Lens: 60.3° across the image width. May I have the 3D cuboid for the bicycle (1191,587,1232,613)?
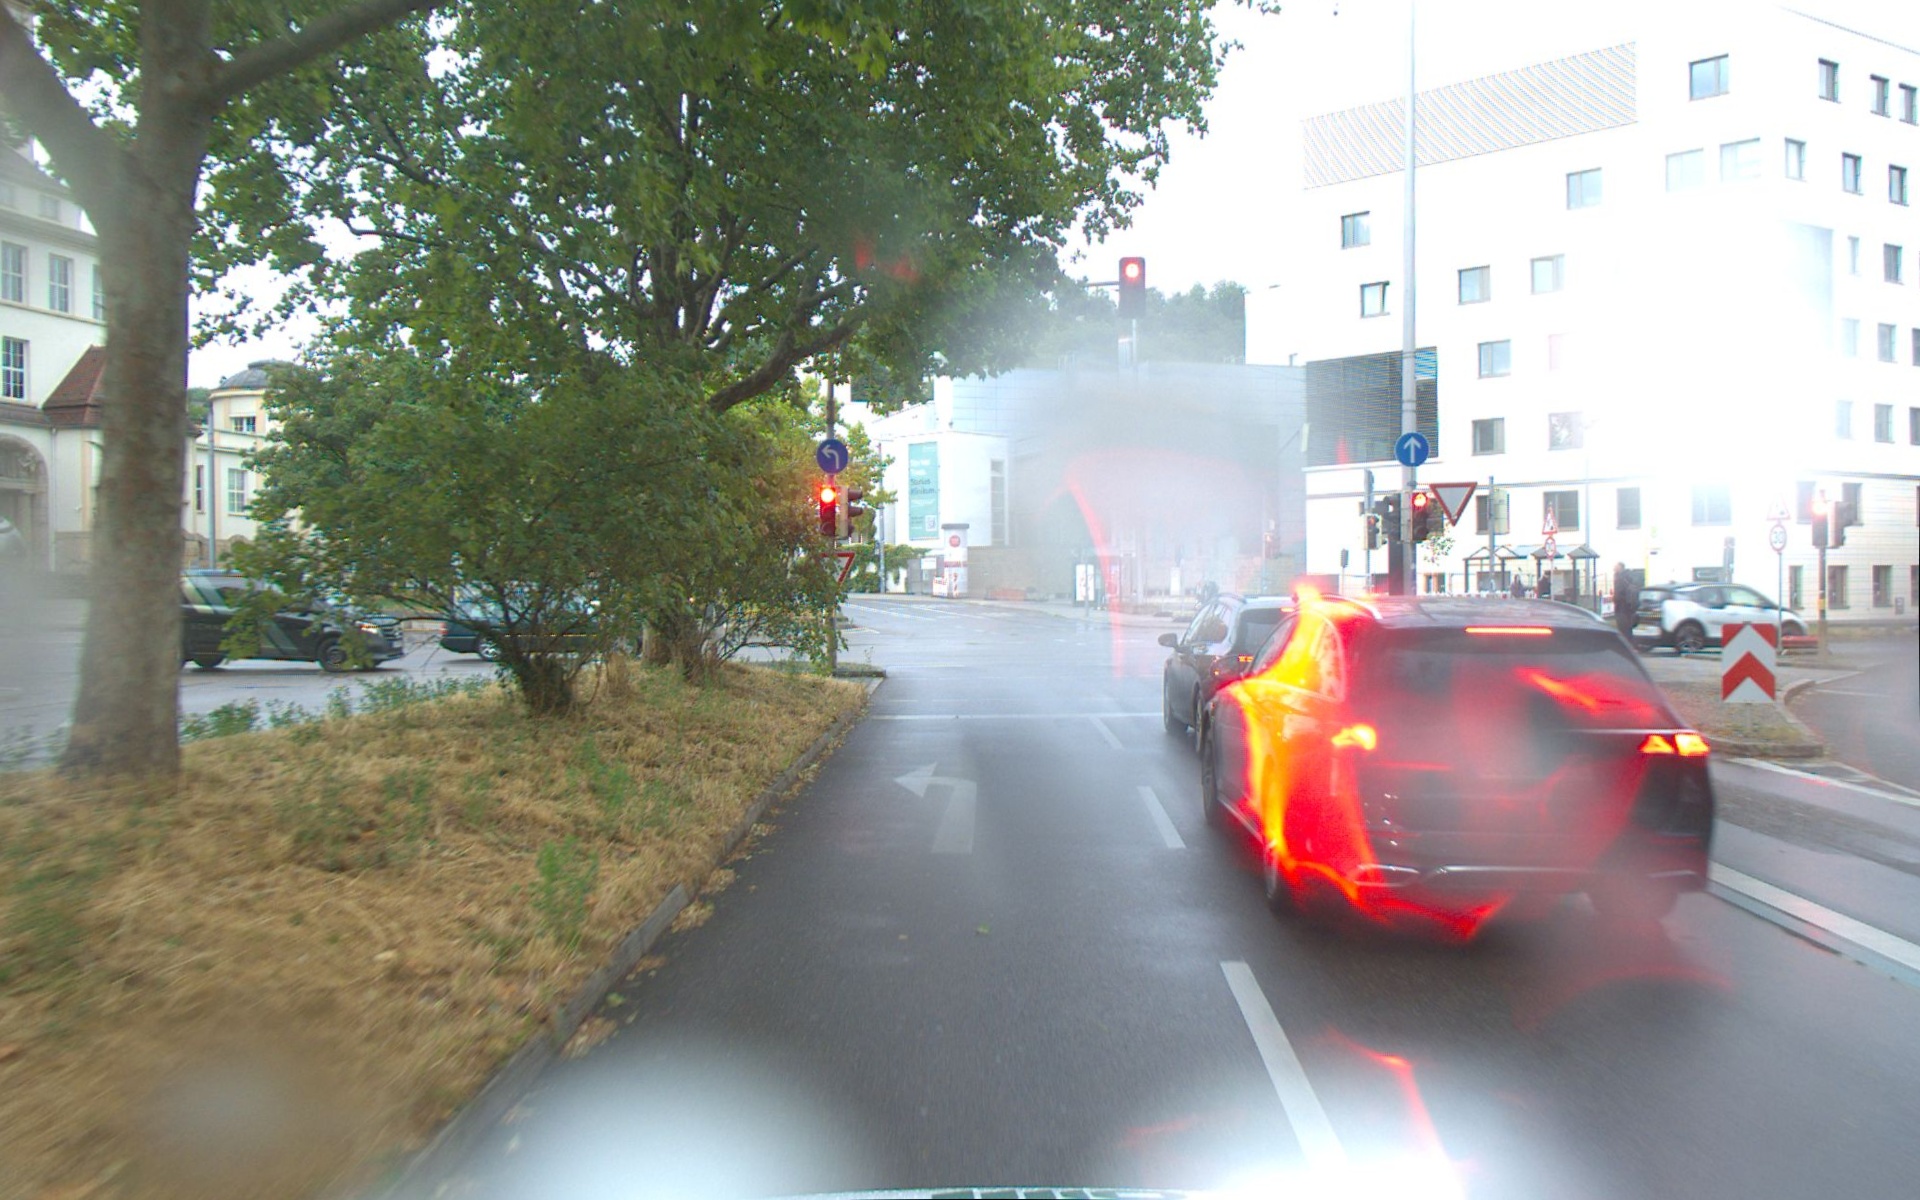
[{"bbox_3d":[10.461,-0.001,68.801,1.801,1.075,0.640,0,0,-36],"label":"bicycle"}]

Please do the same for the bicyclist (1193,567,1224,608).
[{"bbox_3d":[10.318,-0.518,68.711,1.115,1.661,0.694,1,-1,-34],"label":"bicyclist"}]

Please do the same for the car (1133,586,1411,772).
[{"bbox_3d":[2.877,0.645,16.230,1.637,1.491,4.510,0,1,-3],"label":"car"}]

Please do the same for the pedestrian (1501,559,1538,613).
[{"bbox_3d":[19.549,-0.490,57.800,0.934,1.872,0.822,1,-1,-10],"label":"pedestrian"}]

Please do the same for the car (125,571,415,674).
[{"bbox_3d":[-13.157,0.397,31.734,4.672,1.840,2.001,-1,1,2],"label":"car"}]

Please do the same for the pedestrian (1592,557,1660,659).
[{"bbox_3d":[12.843,0.150,31.911,0.812,1.925,1.026,1,-1,-7],"label":"pedestrian"}]

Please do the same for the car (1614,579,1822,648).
[{"bbox_3d":[16.956,0.318,37.077,3.917,1.446,1.862,1,-1,-12],"label":"car"}]

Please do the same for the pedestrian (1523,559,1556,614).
[{"bbox_3d":[21.007,-0.479,59.981,0.980,1.969,0.955,1,-1,11],"label":"pedestrian"}]

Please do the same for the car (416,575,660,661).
[{"bbox_3d":[-9.053,0.378,35.856,4.860,1.702,1.997,-1,0,-7],"label":"car"}]

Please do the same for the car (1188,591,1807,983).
[{"bbox_3d":[2.428,0.712,8.899,1.840,1.471,4.932,1,1,2],"label":"car"}]

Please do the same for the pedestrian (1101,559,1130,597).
[{"bbox_3d":[7.307,-1.017,77.701,1.231,1.749,1.016,1,-1,0],"label":"pedestrian"}]
